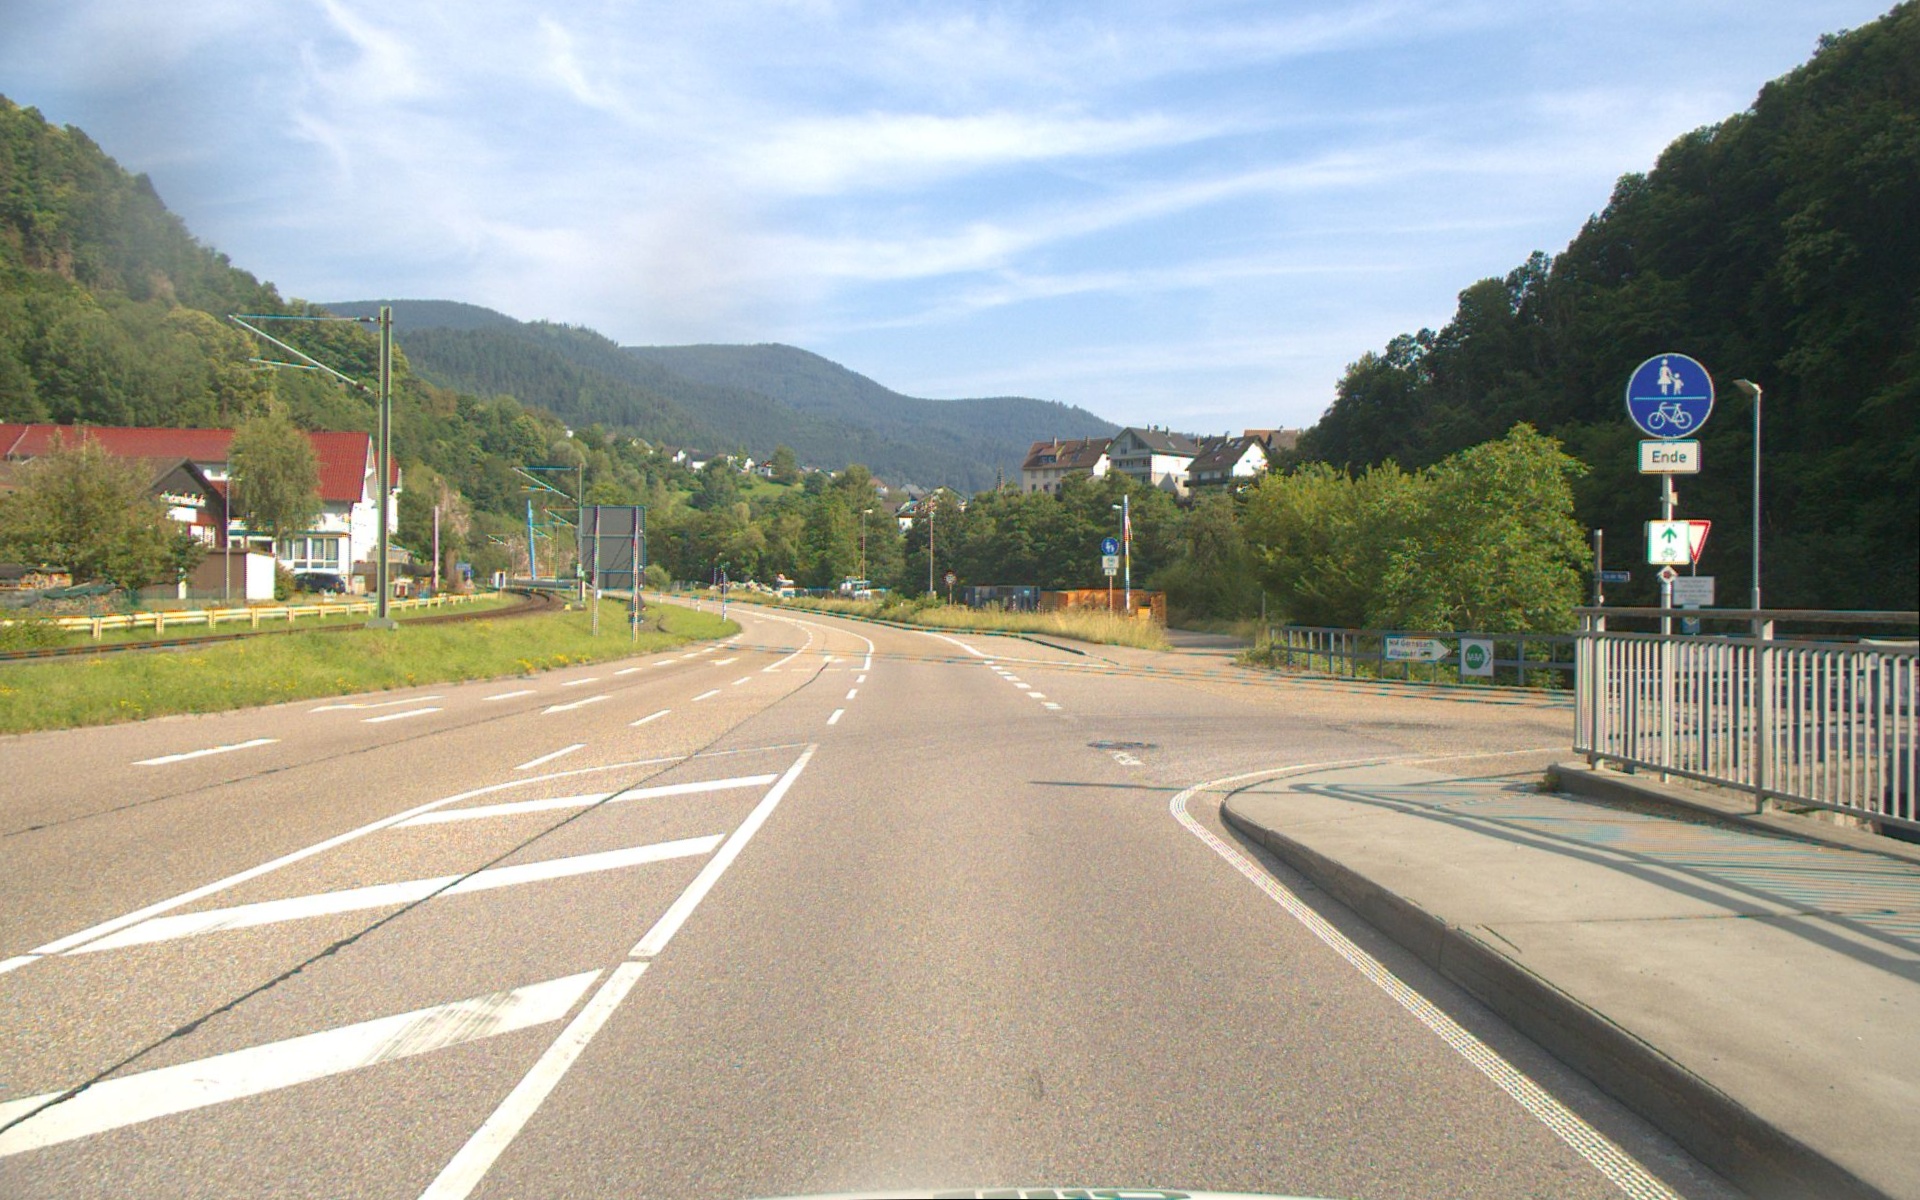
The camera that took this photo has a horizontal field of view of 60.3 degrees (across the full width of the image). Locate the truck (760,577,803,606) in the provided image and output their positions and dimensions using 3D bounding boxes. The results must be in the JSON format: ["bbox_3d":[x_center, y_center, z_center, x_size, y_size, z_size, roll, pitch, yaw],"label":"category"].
[{"bbox_3d":[-24.682,-1.222,228.234,3.065,3.848,8.571,1,0,-26],"label":"truck"}]

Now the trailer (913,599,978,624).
[{"bbox_3d":[-1.101,0.758,115.984,2.742,1.500,9.859,2,0,-12],"label":"trailer"}]

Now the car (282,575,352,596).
[{"bbox_3d":[-42.520,-0.954,109.389,4.022,1.293,1.732,1,0,-12],"label":"car"}]

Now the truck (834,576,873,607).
[{"bbox_3d":[-13.714,-1.073,212.335,3.054,3.848,8.602,1,0,-18],"label":"truck"}]
